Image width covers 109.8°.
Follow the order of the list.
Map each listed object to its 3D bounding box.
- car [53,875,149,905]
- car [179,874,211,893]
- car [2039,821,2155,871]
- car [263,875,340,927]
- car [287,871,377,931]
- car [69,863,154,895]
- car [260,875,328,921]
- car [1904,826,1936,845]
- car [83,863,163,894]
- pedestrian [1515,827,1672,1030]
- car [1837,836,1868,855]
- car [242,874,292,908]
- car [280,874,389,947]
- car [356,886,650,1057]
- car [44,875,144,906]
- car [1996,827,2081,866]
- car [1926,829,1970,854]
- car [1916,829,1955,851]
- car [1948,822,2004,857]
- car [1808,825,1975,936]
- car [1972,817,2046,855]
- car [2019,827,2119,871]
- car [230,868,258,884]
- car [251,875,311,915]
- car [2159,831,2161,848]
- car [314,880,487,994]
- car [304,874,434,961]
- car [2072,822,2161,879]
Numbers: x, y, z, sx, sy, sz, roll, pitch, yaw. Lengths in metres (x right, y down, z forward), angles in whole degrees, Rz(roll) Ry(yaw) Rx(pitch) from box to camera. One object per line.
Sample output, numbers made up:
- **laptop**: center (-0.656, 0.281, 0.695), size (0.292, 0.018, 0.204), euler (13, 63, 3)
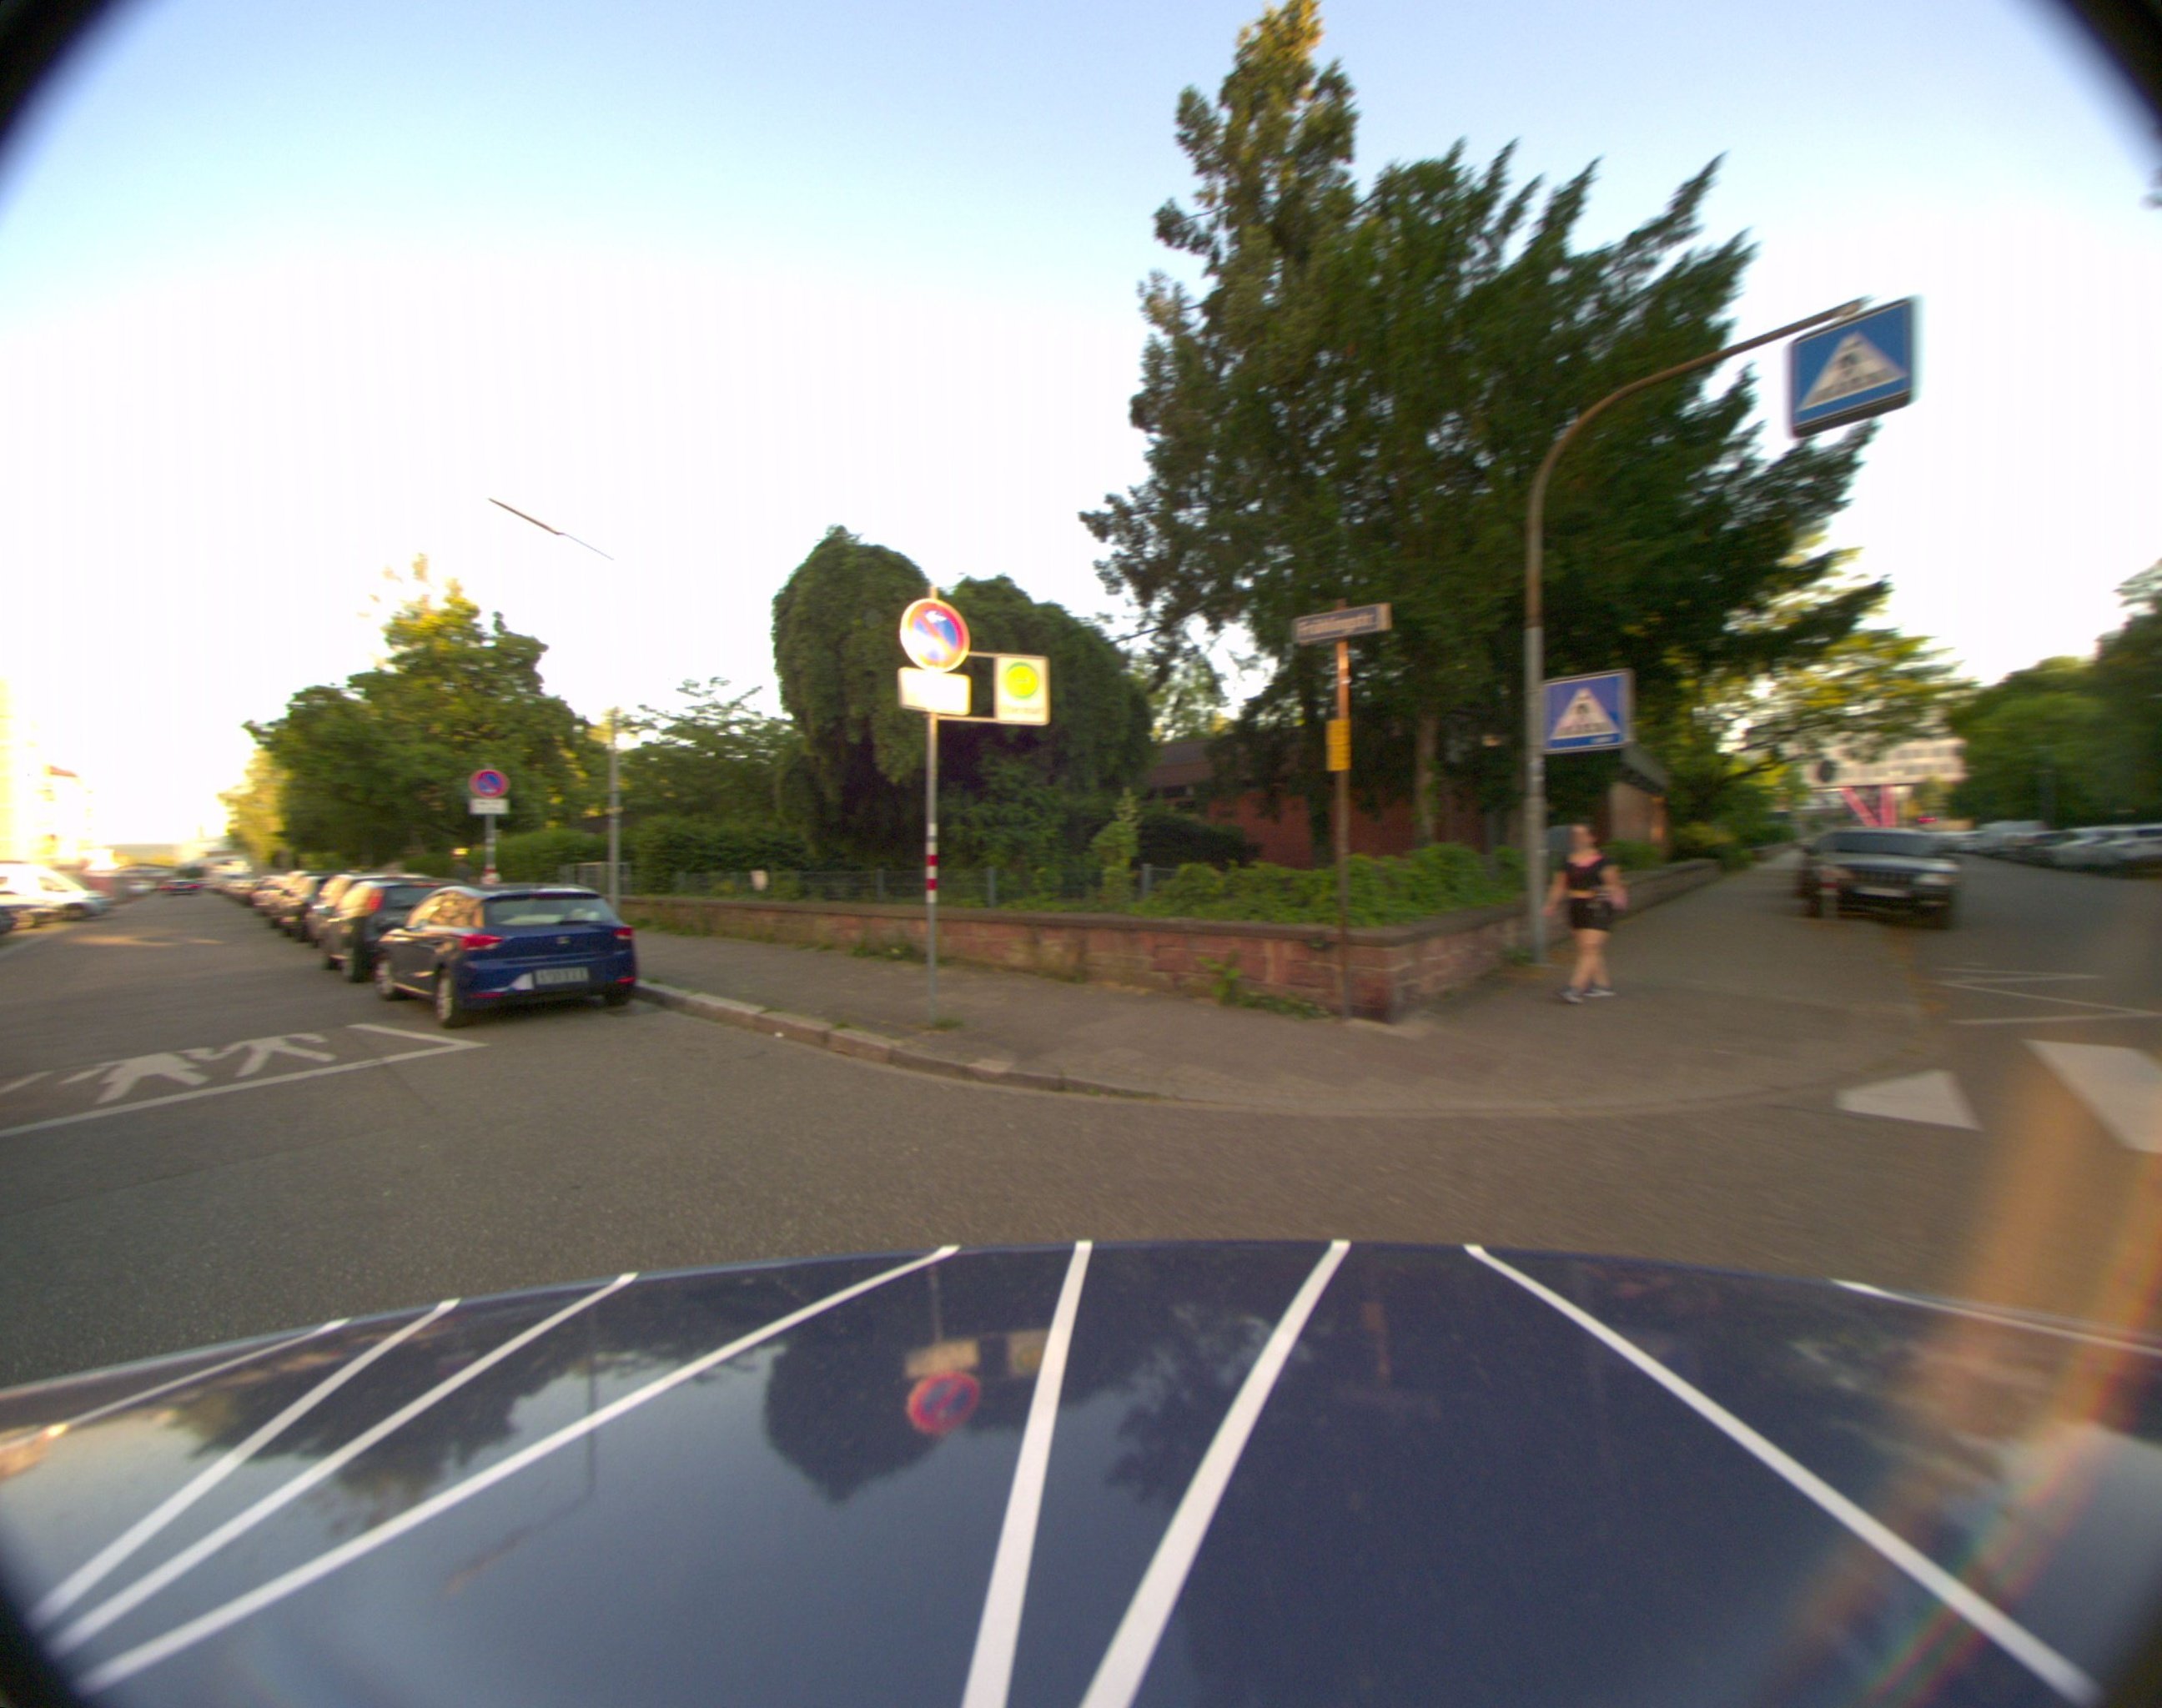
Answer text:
- **car**: center (-72.444, 2.618, 56.272), size (1.834, 1.987, 4.199), euler (-1, 0, 42)
- **car**: center (-82.608, 2.721, 70.858), size (4.351, 1.650, 1.747), euler (-1, 0, 43)
- **car**: center (37.665, -0.304, 28.286), size (1.783, 1.561, 3.892), euler (-8, -4, 42)
- **car**: center (-26.050, 1.534, 25.377), size (2.946, 1.576, 1.537), euler (-1, 0, 40)
- **car**: center (-21.589, 1.290, 21.875), size (2.946, 1.576, 1.537), euler (-1, 0, 40)
- **car**: center (-80.487, 2.036, 63.186), size (1.834, 2.461, 4.199), euler (-1, 0, 42)
- **car**: center (-29.711, 1.609, 28.672), size (2.946, 1.576, 1.537), euler (-1, 0, 40)
- **car**: center (89.580, -1.967, 81.140), size (1.783, 1.771, 4.020), euler (-8, -4, 42)
- **car**: center (-82.960, 2.087, 65.878), size (1.834, 2.461, 4.199), euler (-1, 0, 42)
- **pedestrian**: center (4.747, 0.625, 7.069), size (0.826, 1.717, 0.859), euler (-1, 5, -33)
- **car**: center (78.947, -0.883, 77.798), size (1.995, 1.739, 4.008), euler (-2, 0, 43)
- **car**: center (-41.480, 1.847, 38.712), size (2.946, 1.576, 1.537), euler (-1, 0, 40)
- **car**: center (-18.258, 1.289, 18.545), size (3.392, 1.576, 1.537), euler (-1, 0, 40)
- **car**: center (-6.812, 1.159, 8.841), size (3.779, 1.476, 1.727), euler (-1, 0, 37)
- **car**: center (-70.761, 2.583, 54.587), size (1.834, 1.987, 4.199), euler (-1, 0, 42)
- **car**: center (45.101, -0.359, 35.893), size (1.783, 1.561, 3.892), euler (-8, -4, 42)
- **car**: center (70.362, -1.006, 61.704), size (1.783, 1.784, 3.892), euler (-8, -4, 42)
- **car**: center (77.492, -1.292, 68.924), size (1.783, 1.771, 4.020), euler (-8, -4, 42)
- **car**: center (59.532, -0.947, 50.616), size (1.783, 2.023, 3.892), euler (-8, -4, 42)
- **car**: center (14.726, 0.365, 14.019), size (1.782, 1.744, 3.892), euler (2, 2, 43)
- **car**: center (52.110, -1.009, 42.762), size (1.961, 1.824, 3.892), euler (-8, -4, 42)
- **car**: center (41.237, -0.225, 31.811), size (1.783, 1.561, 3.892), euler (-8, -4, 42)
- **car**: center (-87.413, 2.276, 79.386), size (2.946, 1.576, 1.807), euler (-1, 0, 40)
- **car**: center (-33.755, 1.691, 32.055), size (2.946, 1.576, 1.537), euler (-1, 0, 40)
- **car**: center (27.714, 0.055, 17.883), size (1.783, 1.467, 3.892), euler (-8, -4, 42)
- **car**: center (-10.878, 1.189, 12.079), size (3.501, 1.476, 1.537), euler (-1, 0, 40)
- **car**: center (-14.685, 1.217, 15.636), size (3.120, 1.576, 1.537), euler (-1, 0, 40)
- **car**: center (33.493, -0.138, 24.068), size (1.783, 1.561, 3.892), euler (-8, -4, 42)
